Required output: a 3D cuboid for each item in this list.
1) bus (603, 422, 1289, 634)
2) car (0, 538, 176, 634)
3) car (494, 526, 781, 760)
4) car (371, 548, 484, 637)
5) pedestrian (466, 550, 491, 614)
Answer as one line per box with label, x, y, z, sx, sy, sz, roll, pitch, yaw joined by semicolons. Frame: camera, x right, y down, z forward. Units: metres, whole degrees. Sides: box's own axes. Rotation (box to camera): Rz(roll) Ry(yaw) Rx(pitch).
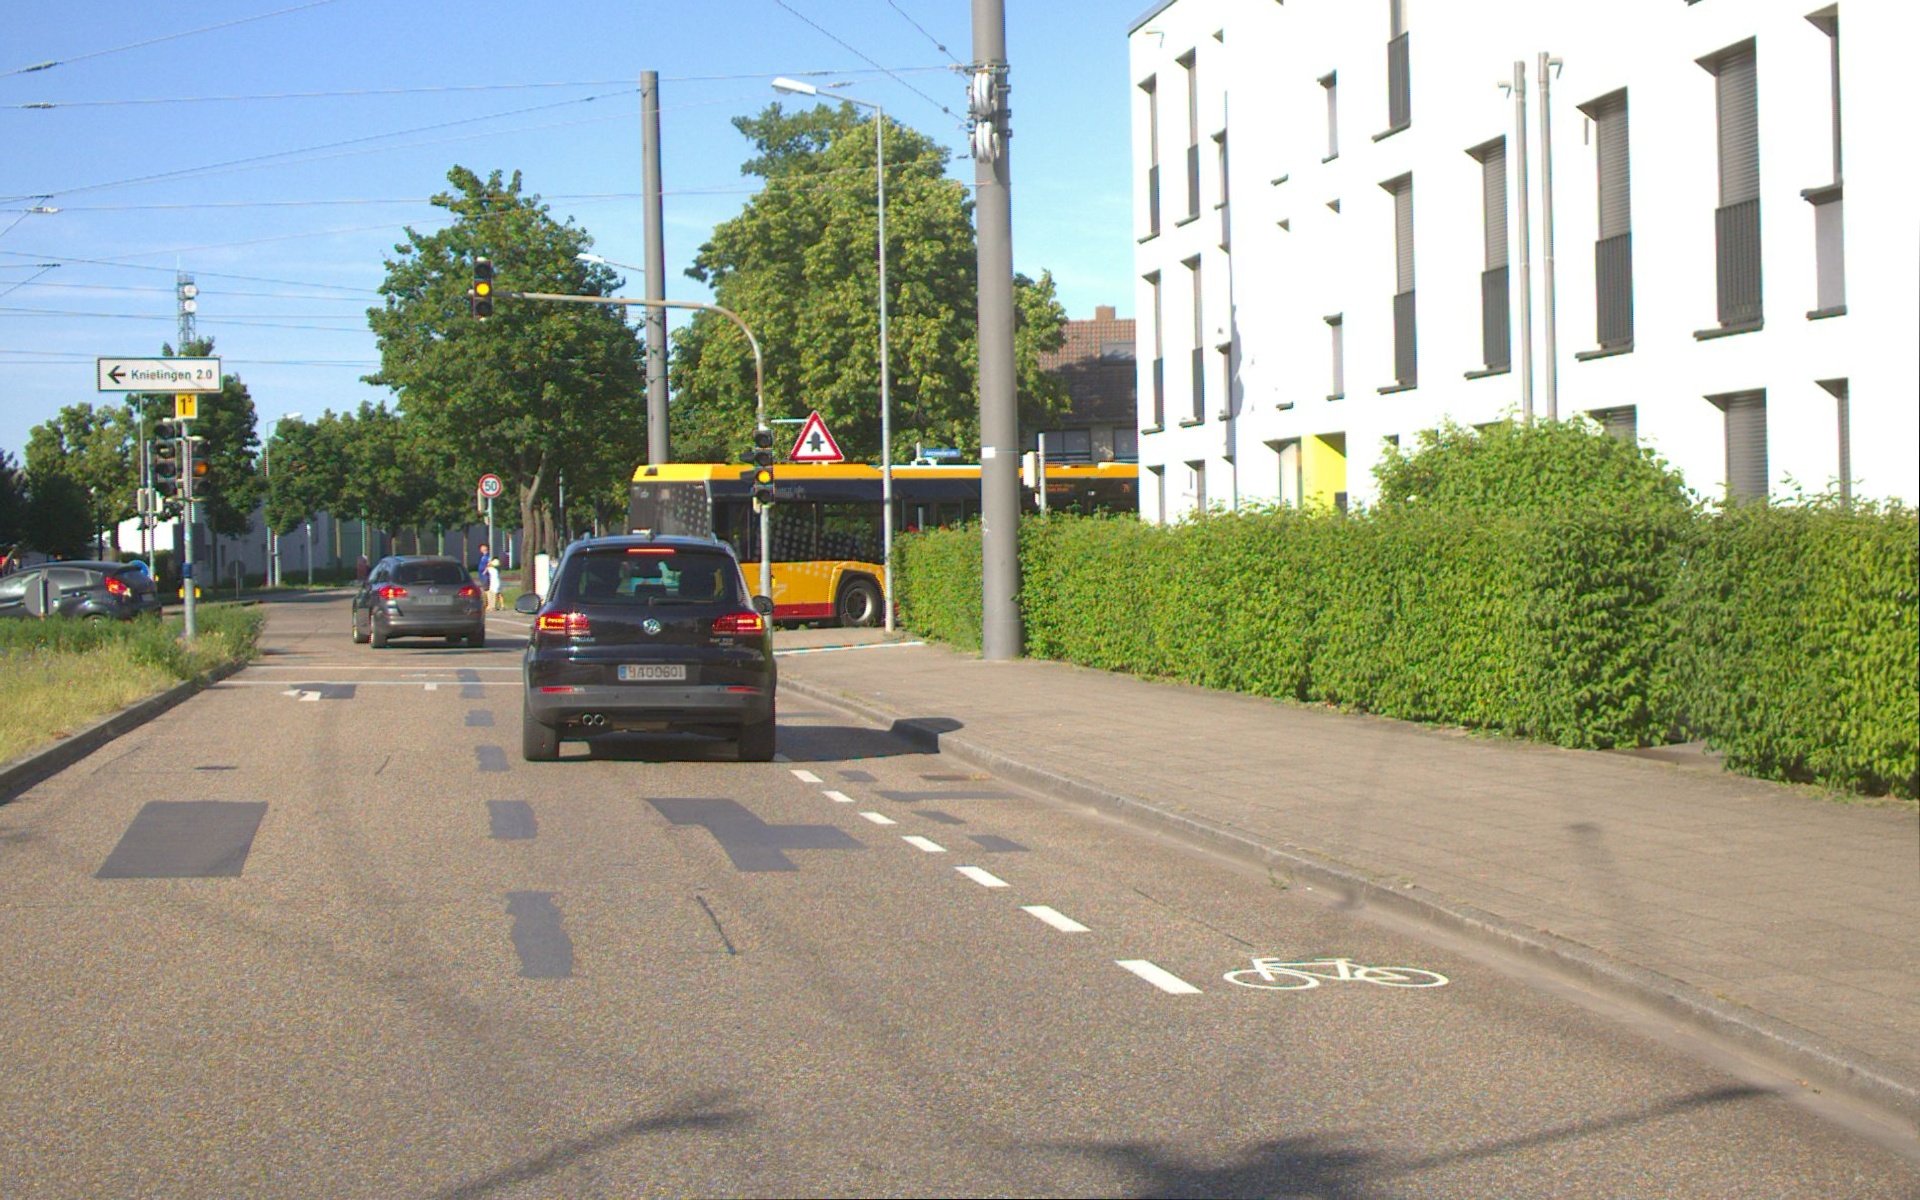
bus;0.102;-1.333;65.267;14.640;3.658;2.847;-1;1;-40
car;-15.119;-0.209;56.963;3.728;1.426;1.708;-3;2;6
car;-2.535;0.261;26.181;1.905;1.637;4.001;0;1;-9
car;-8.666;-0.146;55.828;1.750;1.382;4.001;0;1;-9
pedestrian;-12.504;-0.470;89.359;0.603;1.634;0.529;0;1;-3
